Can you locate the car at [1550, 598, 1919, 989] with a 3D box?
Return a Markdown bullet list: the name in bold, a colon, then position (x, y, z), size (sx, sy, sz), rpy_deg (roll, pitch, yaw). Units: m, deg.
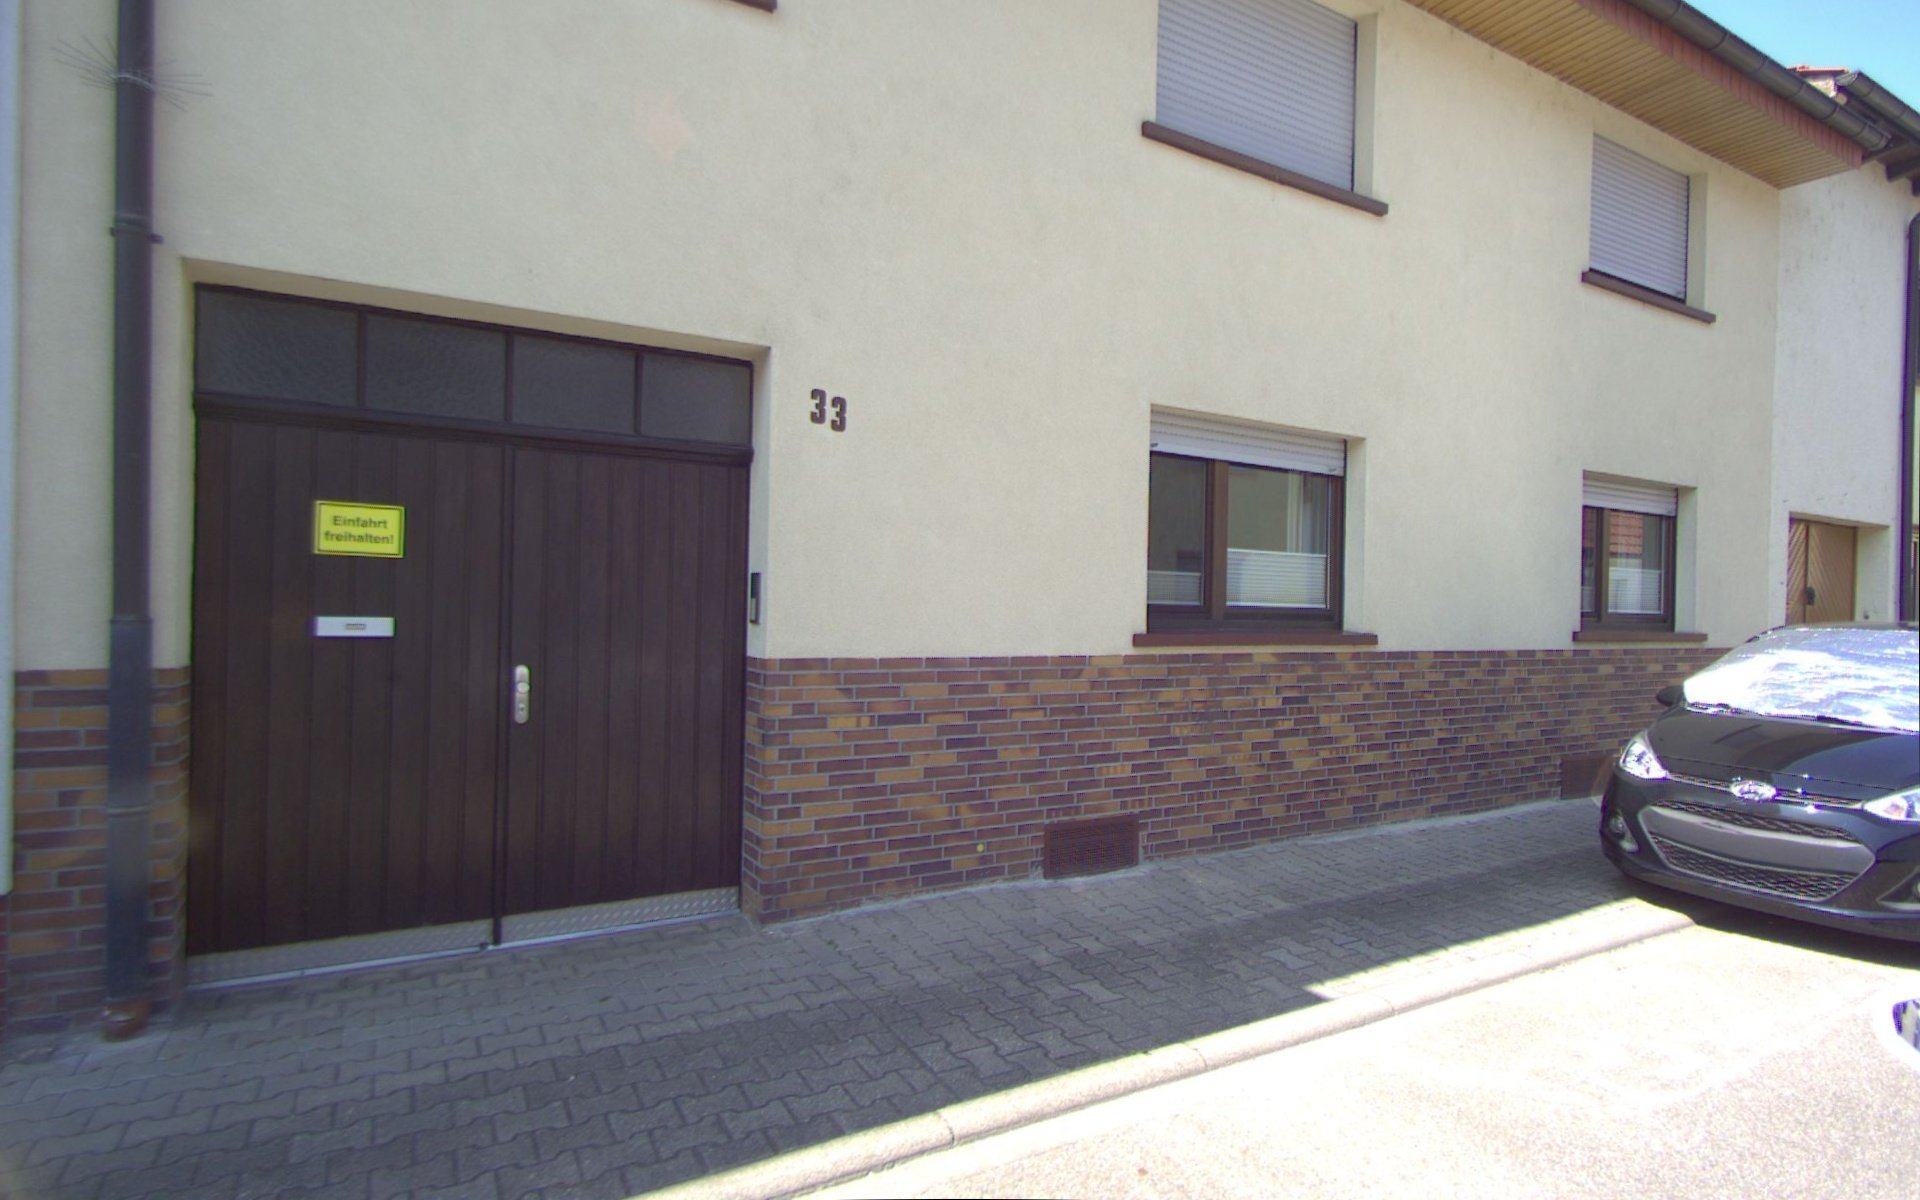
- **car**: position (5.163, 0.818, 5.589), size (3.898, 1.558, 1.631), rpy_deg (1, -1, -32)
